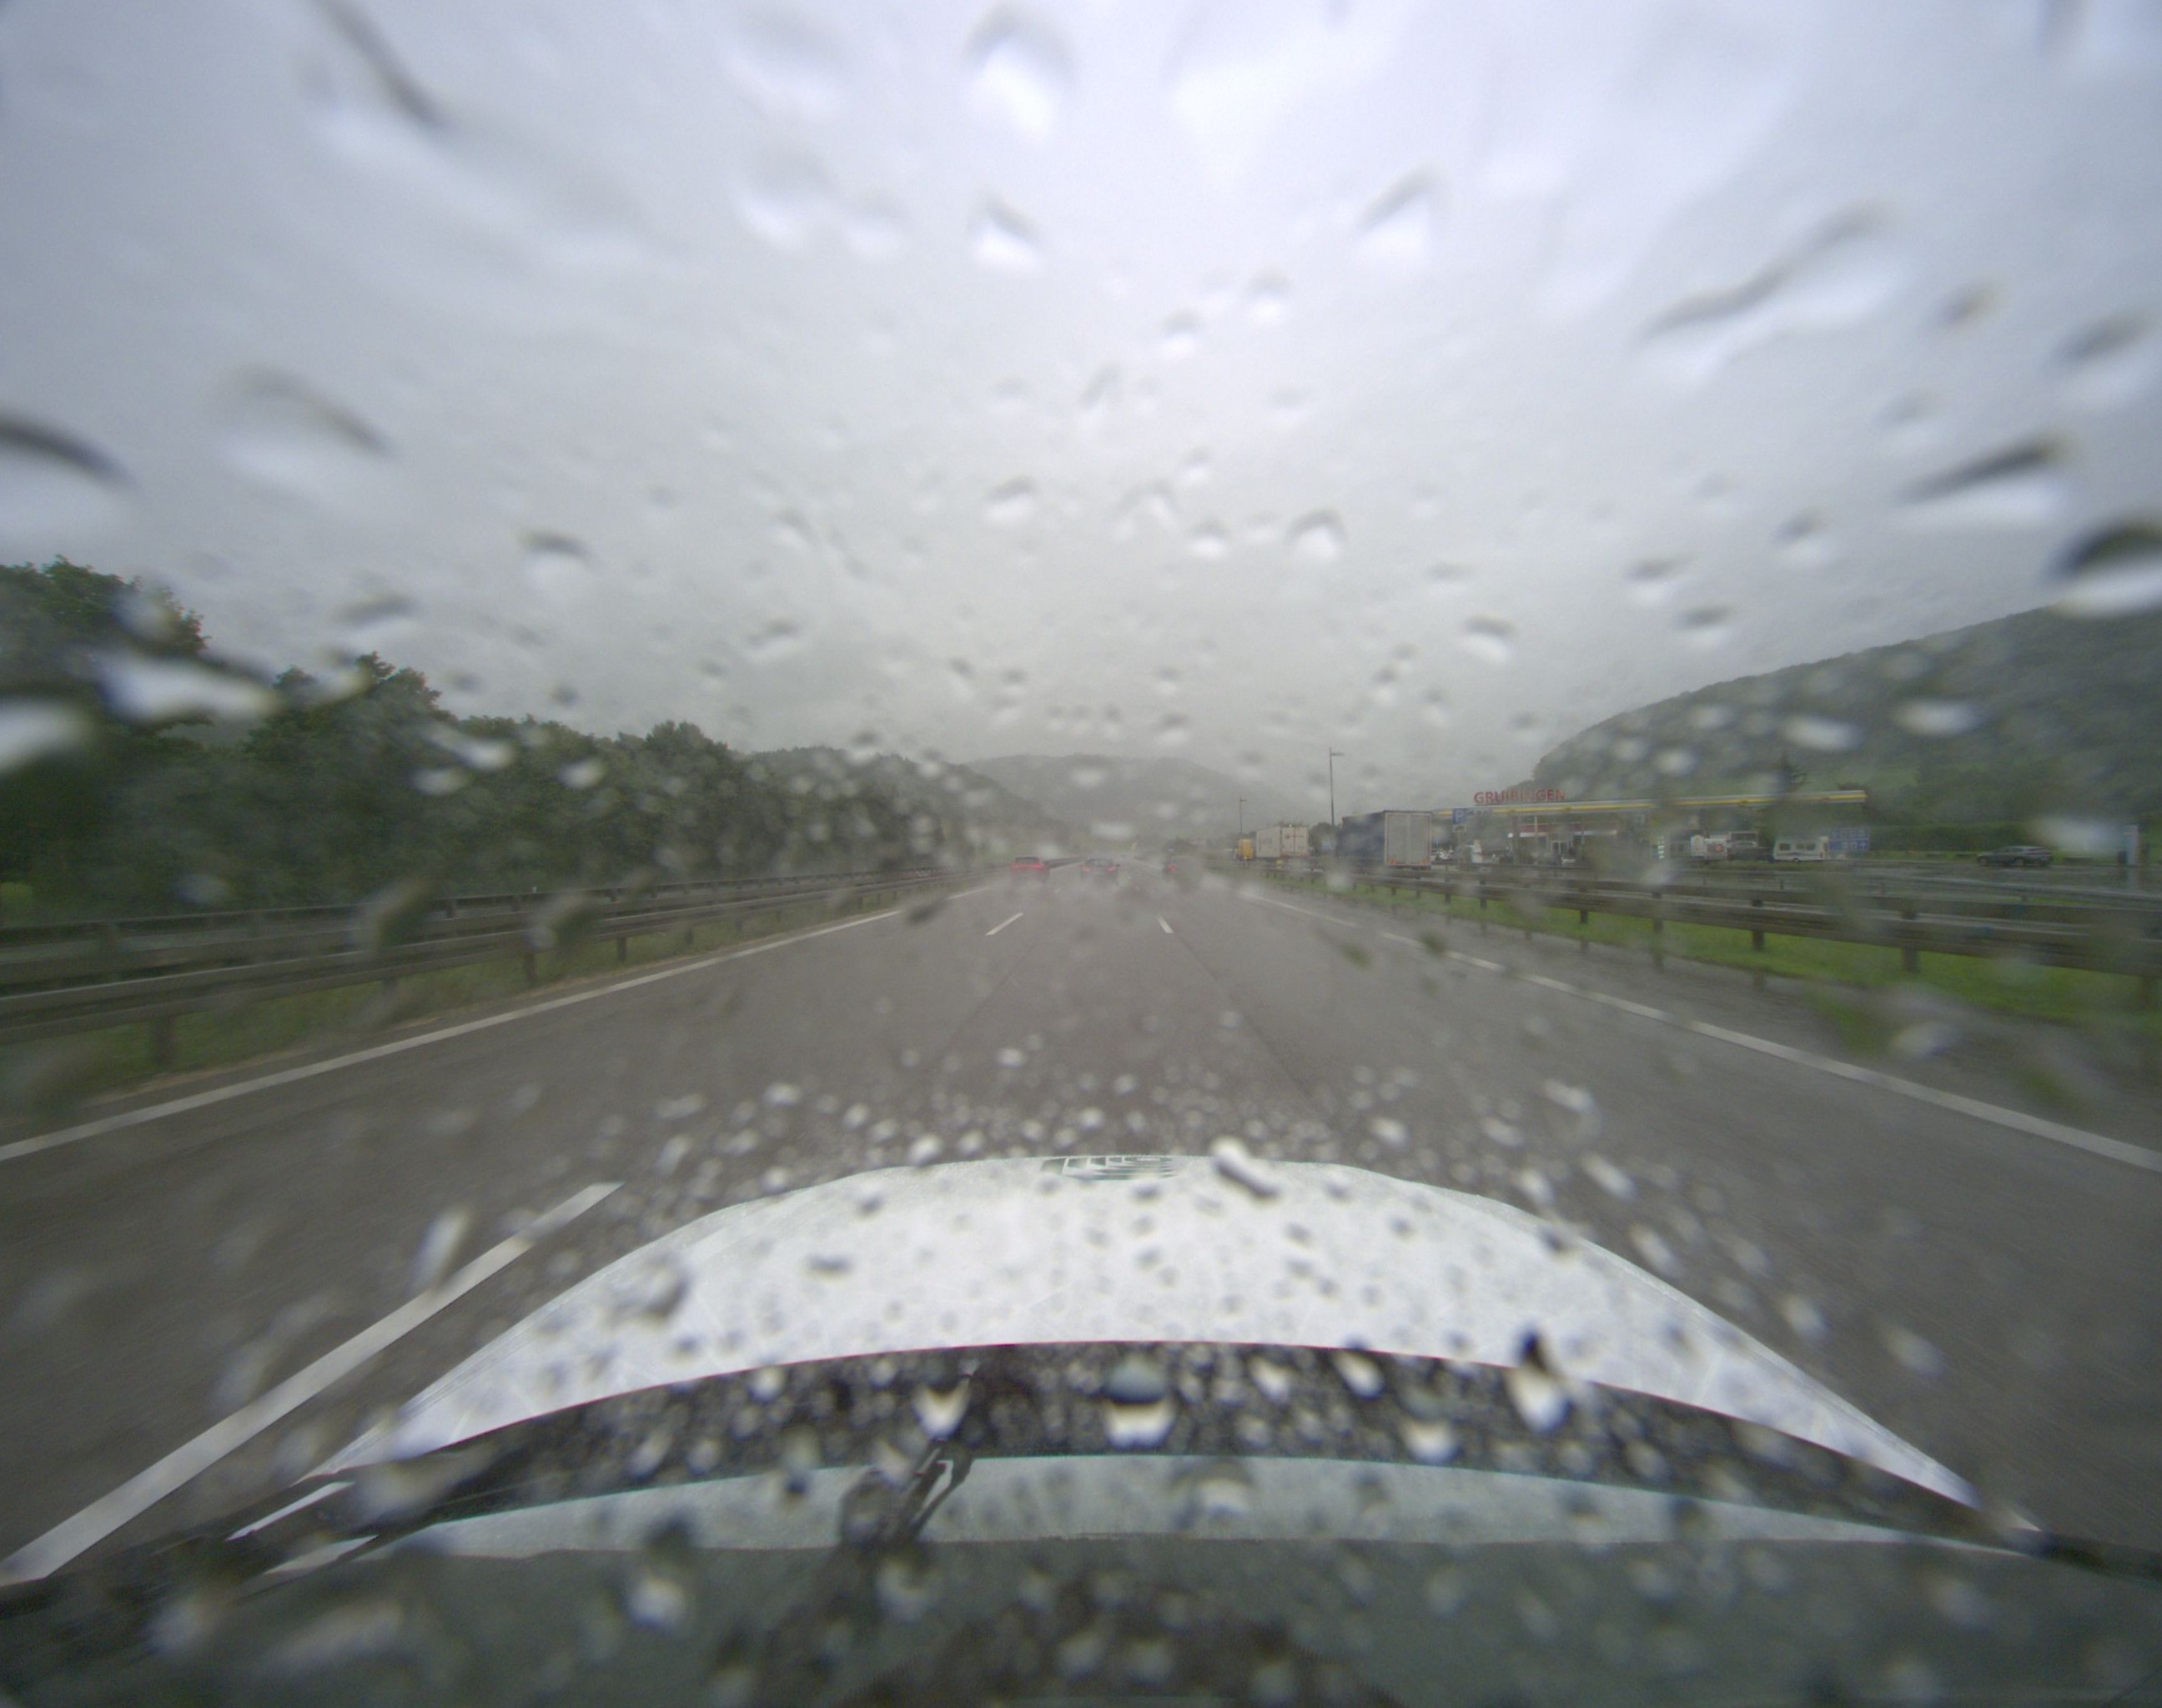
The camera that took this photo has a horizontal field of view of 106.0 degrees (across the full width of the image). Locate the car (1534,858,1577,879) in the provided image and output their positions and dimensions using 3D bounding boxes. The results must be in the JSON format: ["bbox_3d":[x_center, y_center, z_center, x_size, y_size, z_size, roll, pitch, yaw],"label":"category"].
[{"bbox_3d":[45.373,1.376,77.940,1.953,2.014,4.002,0,0,2],"label":"car"}]

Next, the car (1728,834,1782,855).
[{"bbox_3d":[65.577,-0.876,79.280,1.986,2.014,4.001,0,0,2],"label":"car"}]

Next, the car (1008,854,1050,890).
[{"bbox_3d":[-2.782,0.921,44.339,1.877,1.816,4.002,-1,0,2],"label":"car"}]

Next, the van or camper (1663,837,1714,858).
[{"bbox_3d":[58.743,-0.612,78.813,1.986,2.014,4.002,0,0,2],"label":"van or camper"}]

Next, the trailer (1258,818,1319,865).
[{"bbox_3d":[19.907,-1.082,78.924,3.501,4.261,11.930,0,0,3],"label":"trailer"}]

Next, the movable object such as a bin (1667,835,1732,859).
[{"bbox_3d":[58.718,-0.664,77.501,1.986,2.189,5.726,0,0,2],"label":"movable object such as a bin"}]

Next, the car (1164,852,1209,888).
[{"bbox_3d":[5.388,0.785,41.886,1.964,1.760,4.003,-1,0,3],"label":"car"}]

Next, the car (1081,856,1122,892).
[{"bbox_3d":[1.031,0.920,39.033,1.852,1.589,4.003,0,0,3],"label":"car"}]

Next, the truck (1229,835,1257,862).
[{"bbox_3d":[20.110,-0.655,101.567,2.281,3.147,8.873,0,0,4],"label":"truck"}]

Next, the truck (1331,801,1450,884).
[{"bbox_3d":[18.105,-0.646,48.666,3.387,4.402,11.057,0,0,3],"label":"truck"}]

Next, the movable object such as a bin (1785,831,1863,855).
[{"bbox_3d":[65.983,-0.913,72.477,2.158,2.014,5.385,0,0,2],"label":"movable object such as a bin"}]

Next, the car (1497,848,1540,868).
[{"bbox_3d":[45.758,0.415,85.248,1.986,2.014,4.903,0,0,2],"label":"car"}]

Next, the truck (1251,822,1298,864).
[{"bbox_3d":[20.295,-1.047,85.901,3.512,4.220,7.824,0,0,4],"label":"truck"}]
